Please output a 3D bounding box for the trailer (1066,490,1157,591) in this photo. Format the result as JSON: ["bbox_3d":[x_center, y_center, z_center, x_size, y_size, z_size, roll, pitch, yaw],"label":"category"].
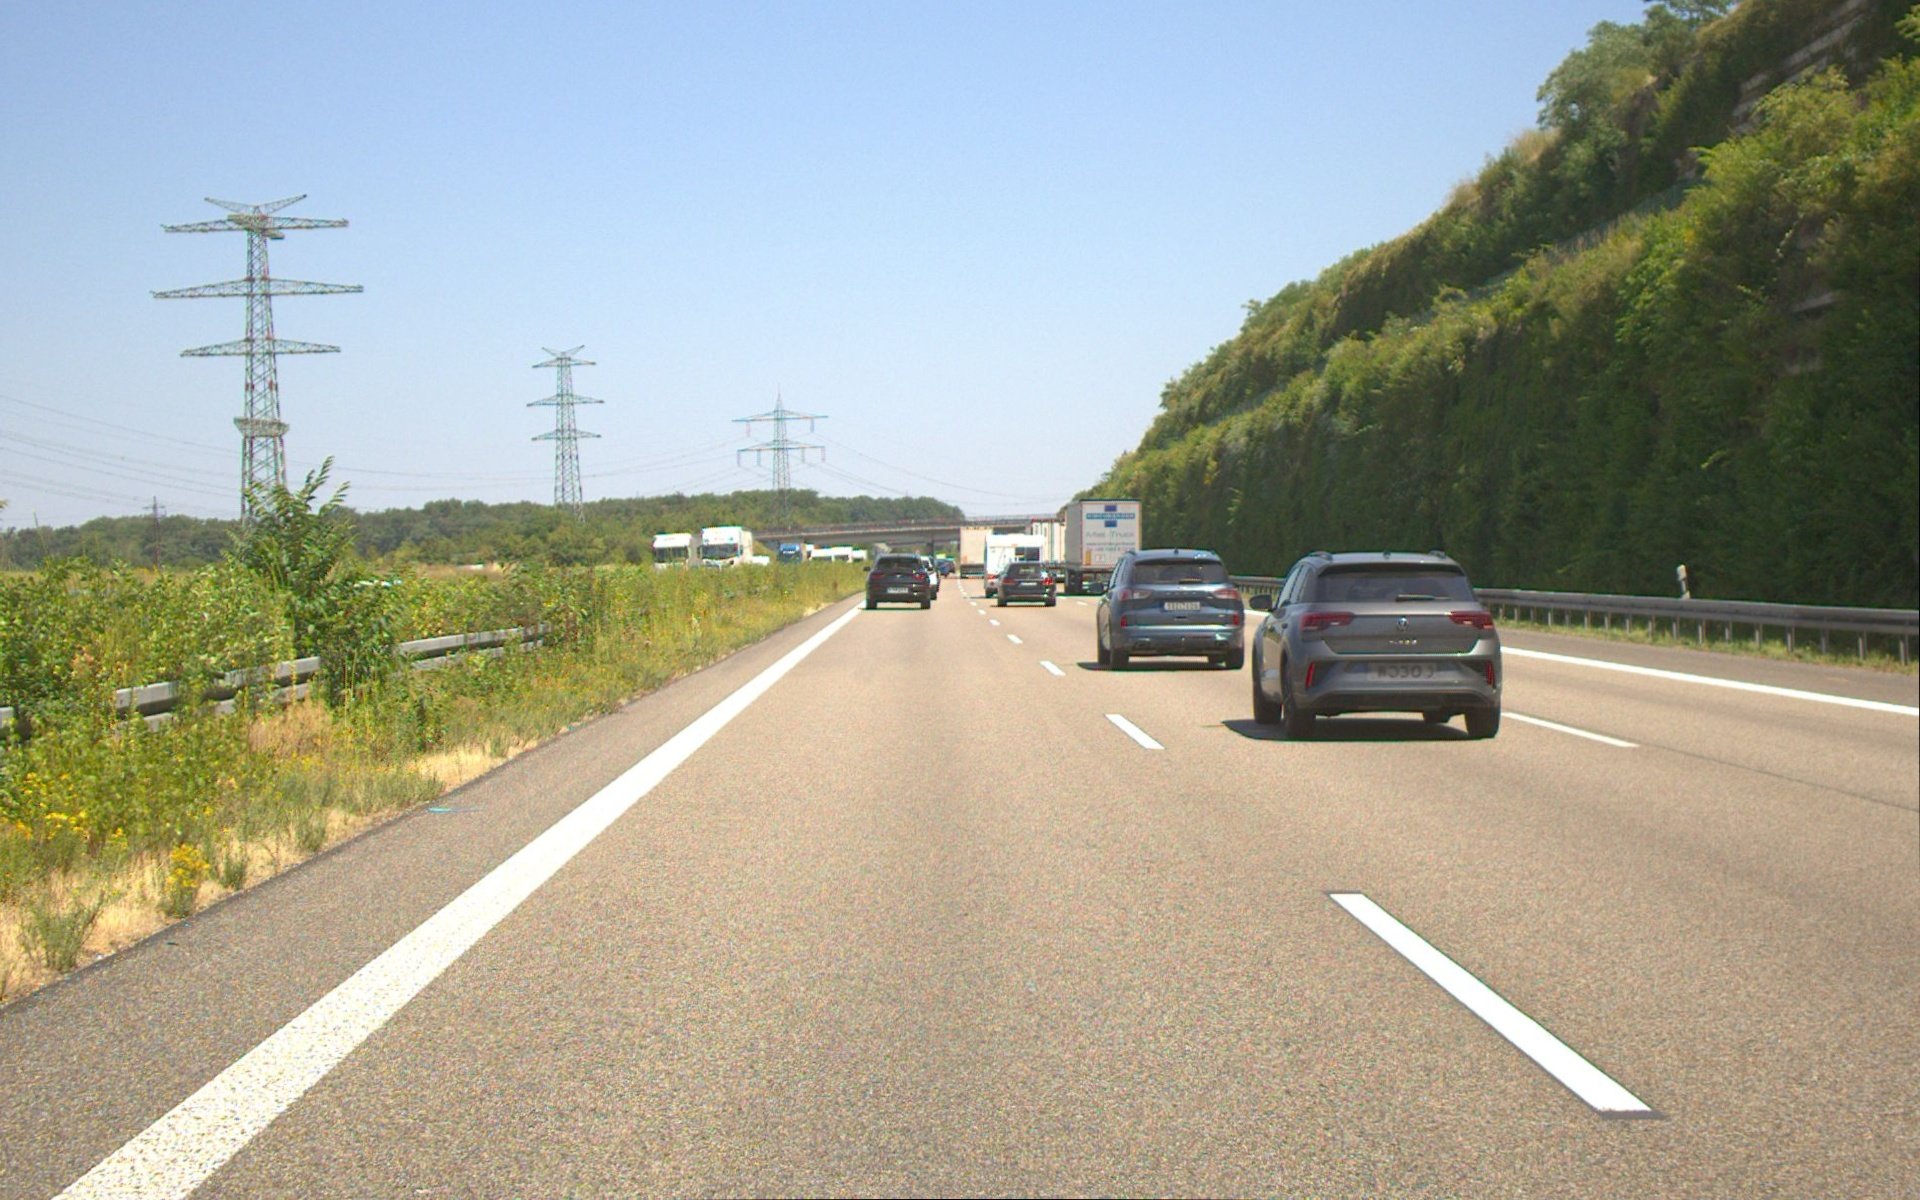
[{"bbox_3d":[6.495,-2.558,149.467,3.183,4.107,13.432,-1,1,0],"label":"trailer"}]

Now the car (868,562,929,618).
[{"bbox_3d":[-1.925,-0.324,107.382,1.830,1.665,4.000,-1,1,-1],"label":"car"}]

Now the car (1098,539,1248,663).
[{"bbox_3d":[2.938,-0.013,48.059,1.794,1.647,4.138,0,1,0],"label":"car"}]

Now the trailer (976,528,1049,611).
[{"bbox_3d":[2.076,-1.261,139.577,2.610,3.202,9.953,-1,1,-1],"label":"trailer"}]

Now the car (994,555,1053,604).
[{"bbox_3d":[2.068,-0.688,112.330,1.830,1.520,4.000,-1,1,0],"label":"car"}]

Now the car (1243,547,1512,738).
[{"bbox_3d":[3.532,0.316,29.714,1.749,1.520,3.995,-1,1,-1],"label":"car"}]

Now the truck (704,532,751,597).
[{"bbox_3d":[-15.191,-2.332,224.906,2.805,4.144,5.570,0,1,-1],"label":"truck"}]

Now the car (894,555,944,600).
[{"bbox_3d":[-1.572,-0.871,132.018,1.830,1.665,4.000,-1,1,-1],"label":"car"}]

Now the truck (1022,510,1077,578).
[{"bbox_3d":[5.748,-3.602,222.752,3.119,4.265,11.934,-1,1,0],"label":"truck"}]
